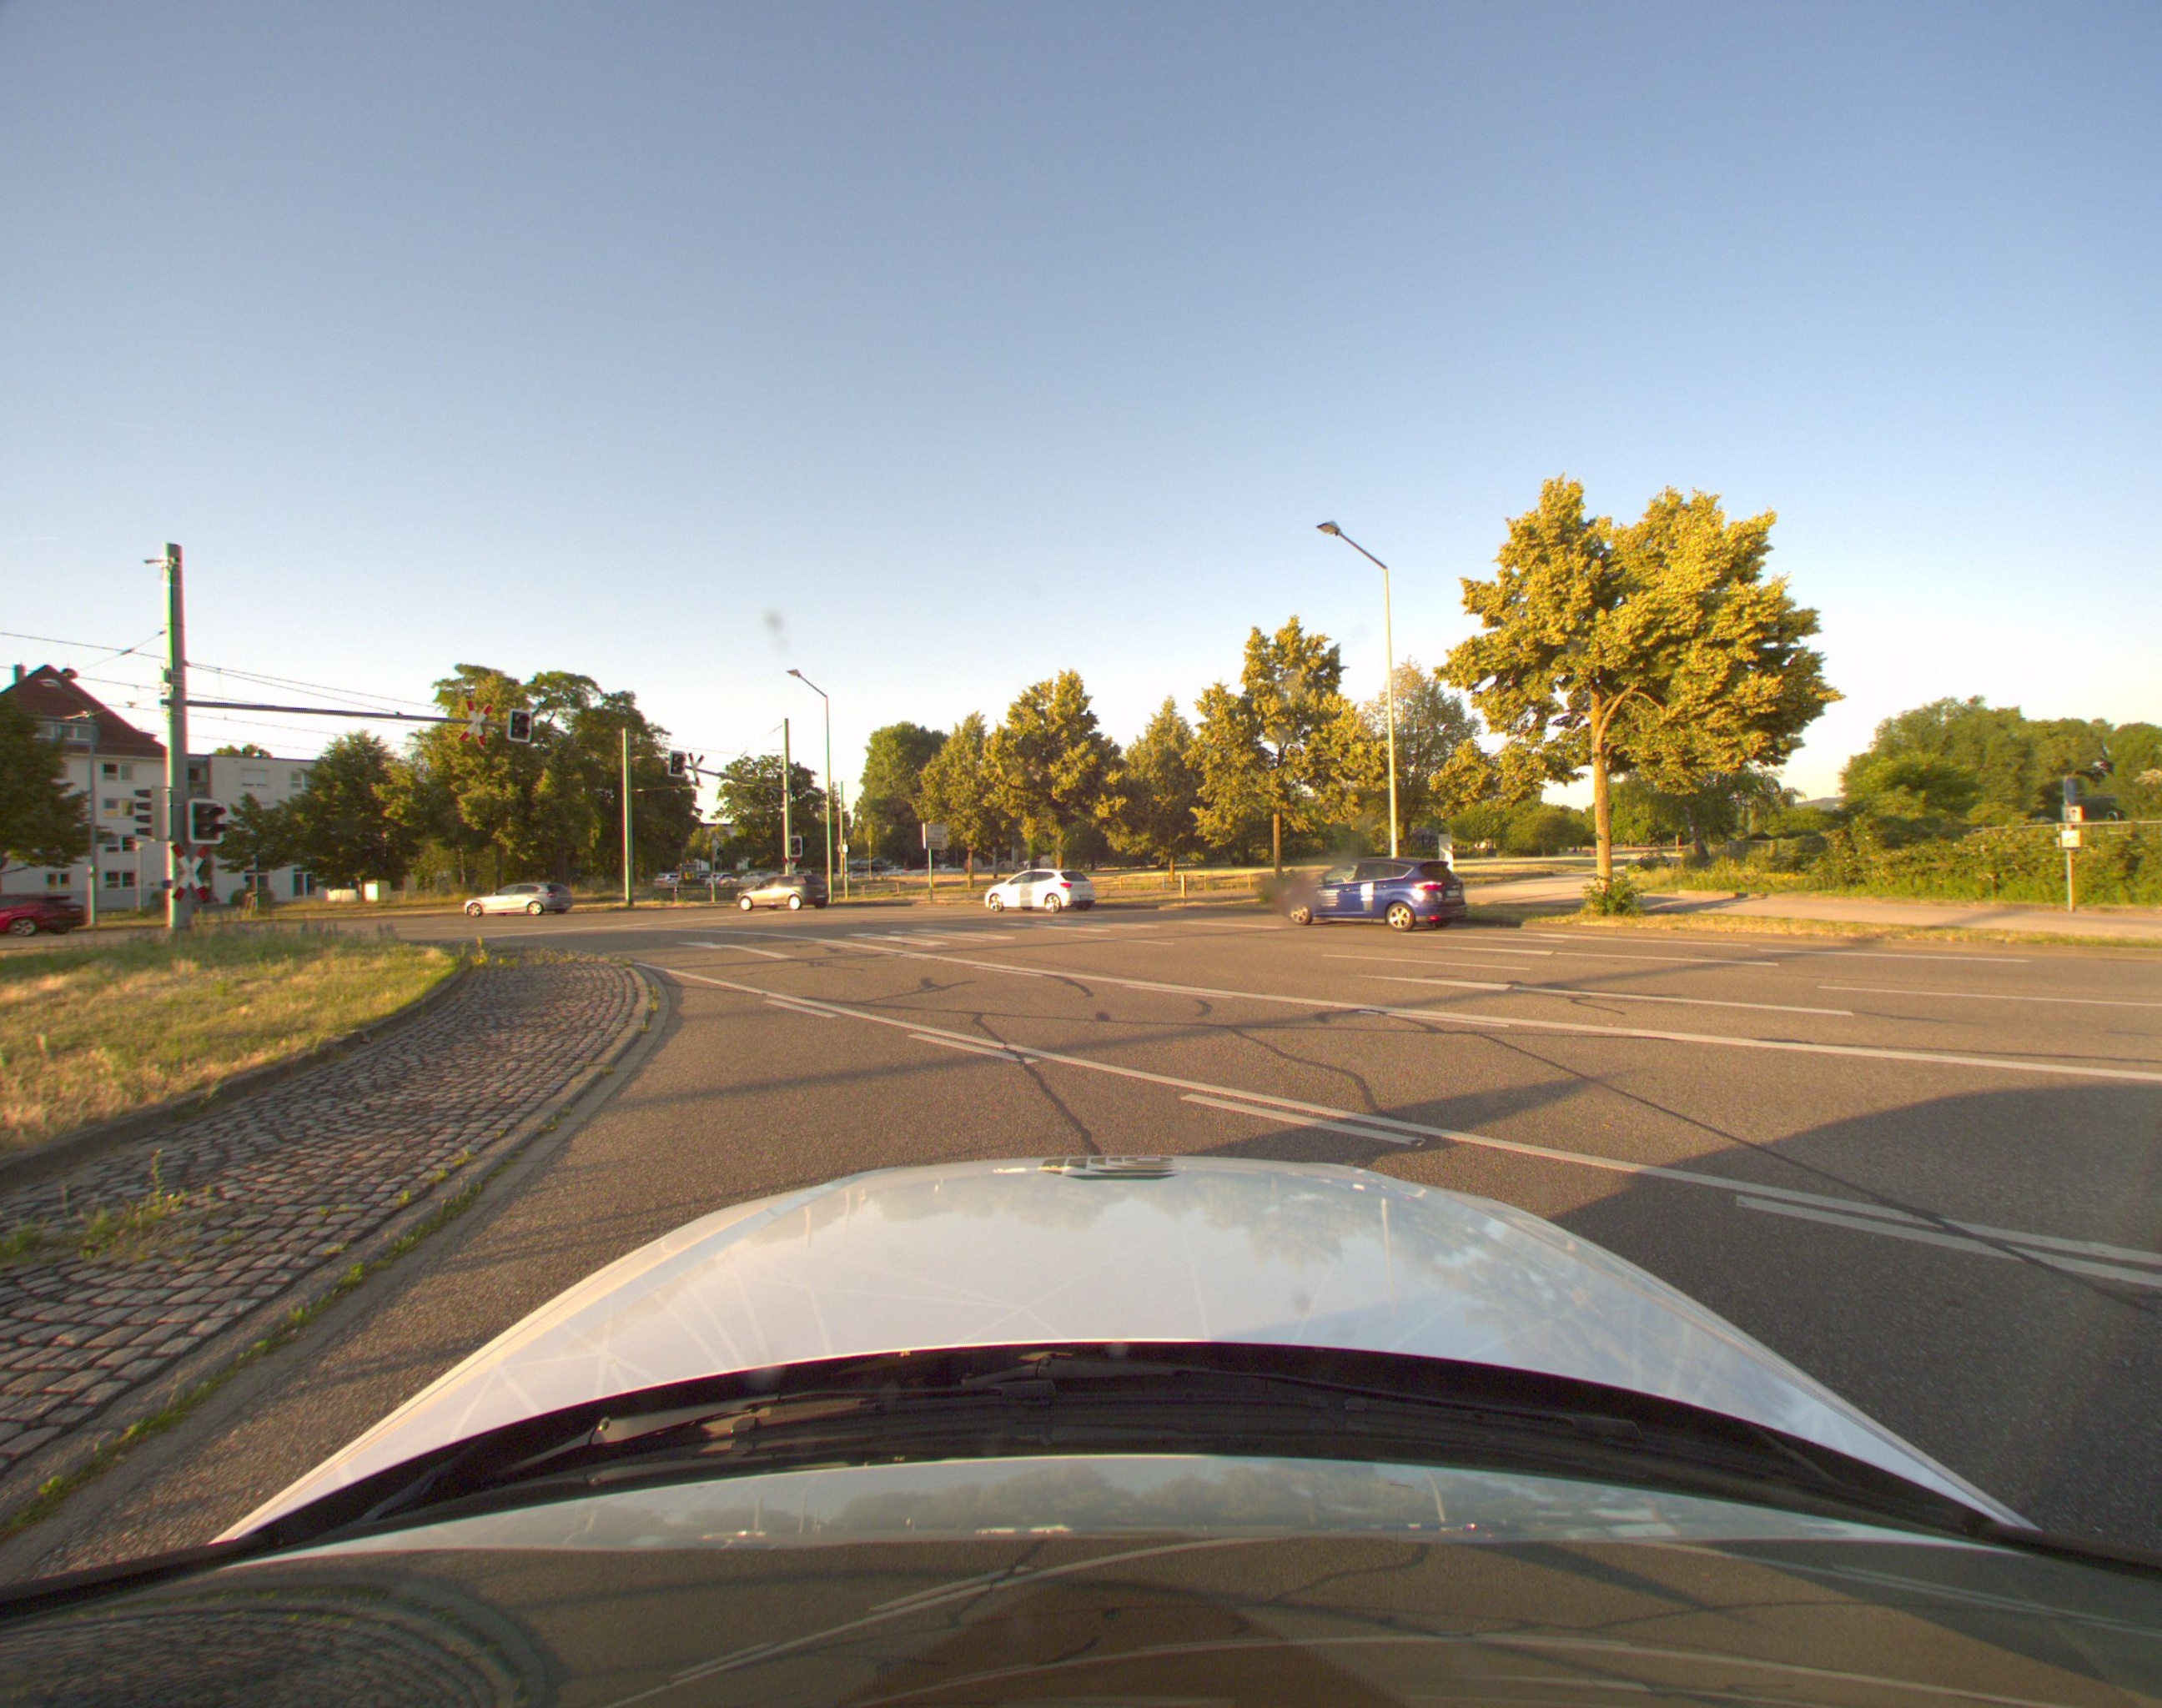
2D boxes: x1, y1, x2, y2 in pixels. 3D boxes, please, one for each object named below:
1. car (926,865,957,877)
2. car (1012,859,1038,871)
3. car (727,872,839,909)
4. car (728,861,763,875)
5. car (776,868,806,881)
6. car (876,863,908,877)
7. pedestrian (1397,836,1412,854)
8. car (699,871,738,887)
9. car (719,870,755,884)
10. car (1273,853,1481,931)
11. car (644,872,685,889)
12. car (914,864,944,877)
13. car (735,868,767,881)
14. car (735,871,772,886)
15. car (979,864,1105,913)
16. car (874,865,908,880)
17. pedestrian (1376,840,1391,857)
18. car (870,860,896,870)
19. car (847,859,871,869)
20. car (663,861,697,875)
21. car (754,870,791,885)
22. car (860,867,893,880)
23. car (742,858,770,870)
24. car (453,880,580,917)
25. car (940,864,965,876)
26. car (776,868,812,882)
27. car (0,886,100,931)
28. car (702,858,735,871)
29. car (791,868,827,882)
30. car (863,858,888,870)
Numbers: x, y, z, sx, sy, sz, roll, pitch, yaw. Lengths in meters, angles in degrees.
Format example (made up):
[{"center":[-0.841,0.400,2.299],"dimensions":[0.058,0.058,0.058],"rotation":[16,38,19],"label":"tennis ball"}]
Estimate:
[{"center":[-19.959,2.394,116.473],"dimensions":[3.948,1.604,2.013],"rotation":[-2,0,34],"label":"car"},{"center":[-7.922,1.543,115.252],"dimensions":[1.748,1.618,3.954],"rotation":[-1,0,-39],"label":"car"},{"center":[-12.276,1.488,33.550],"dimensions":[4.112,1.454,1.878],"rotation":[-1,-1,22],"label":"car"},{"center":[-51.847,2.151,125.801],"dimensions":[1.974,2.013,4.627],"rotation":[-2,0,32],"label":"car"},{"center":[-41.266,2.907,115.991],"dimensions":[4.001,1.662,1.889],"rotation":[-2,0,-20],"label":"car"},{"center":[-29.317,2.439,126.696],"dimensions":[4.578,2.013,1.995],"rotation":[-2,0,-7],"label":"car"},{"center":[31.129,-0.868,78.349],"dimensions":[1.064,1.617,0.911],"rotation":[-2,0,4],"label":"pedestrian"},{"center":[-38.993,2.705,87.537],"dimensions":[3.948,1.604,2.013],"rotation":[-2,0,34],"label":"car"},{"center":[-46.082,3.039,109.141],"dimensions":[1.878,1.662,4.026],"rotation":[-2,0,37],"label":"car"},{"center":[6.744,0.810,18.894],"dimensions":[1.925,1.583,4.133],"rotation":[0,-1,-38],"label":"car"},{"center":[-42.625,2.697,83.320],"dimensions":[3.948,1.604,2.013],"rotation":[-2,0,34],"label":"car"},{"center":[-21.434,2.337,114.779],"dimensions":[3.948,1.604,2.013],"rotation":[-2,0,34],"label":"car"},{"center":[-46.196,2.809,113.940],"dimensions":[4.005,1.662,1.984],"rotation":[-2,0,-24],"label":"car"},{"center":[-37.023,2.728,92.056],"dimensions":[3.948,1.604,2.013],"rotation":[-2,0,34],"label":"car"},{"center":[-1.359,1.147,27.587],"dimensions":[3.920,1.454,1.880],"rotation":[-2,1,38],"label":"car"},{"center":[-27.617,2.707,118.505],"dimensions":[4.578,2.013,1.995],"rotation":[-2,0,-7],"label":"car"},{"center":[29.294,-0.524,78.898],"dimensions":[1.064,1.617,0.911],"rotation":[-2,0,4],"label":"pedestrian"},{"center":[-35.644,1.916,146.431],"dimensions":[3.964,1.706,2.005],"rotation":[-2,0,8],"label":"car"},{"center":[-41.708,1.918,153.018],"dimensions":[1.974,1.816,4.026],"rotation":[-2,0,37],"label":"car"},{"center":[-65.627,2.265,133.324],"dimensions":[1.974,2.013,4.627],"rotation":[-2,0,32],"label":"car"},{"center":[-35.478,2.729,93.666],"dimensions":[3.948,1.604,2.013],"rotation":[-2,0,34],"label":"car"},{"center":[-26.639,2.505,105.980],"dimensions":[3.948,1.604,2.013],"rotation":[-2,0,34],"label":"car"},{"center":[-57.798,1.836,144.932],"dimensions":[1.974,2.013,4.143],"rotation":[-2,0,36],"label":"car"},{"center":[-24.302,1.897,35.182],"dimensions":[4.136,1.390,1.867],"rotation":[-2,0,0],"label":"car"},{"center":[-20.432,2.551,129.439],"dimensions":[2.008,1.752,4.549],"rotation":[-1,1,-35],"label":"car"},{"center":[-33.670,2.470,95.424],"dimensions":[3.948,1.604,2.013],"rotation":[-2,0,34],"label":"car"},{"center":[-41.529,2.141,31.290],"dimensions":[4.421,1.573,1.984],"rotation":[-2,0,-24],"label":"car"},{"center":[-61.887,1.820,139.063],"dimensions":[1.974,2.013,4.628],"rotation":[-2,0,36],"label":"car"},{"center":[-32.605,2.480,97.604],"dimensions":[3.948,1.604,2.013],"rotation":[-2,0,34],"label":"car"},{"center":[-37.919,1.807,150.038],"dimensions":[1.975,2.013,4.025],"rotation":[-2,0,42],"label":"car"}]
